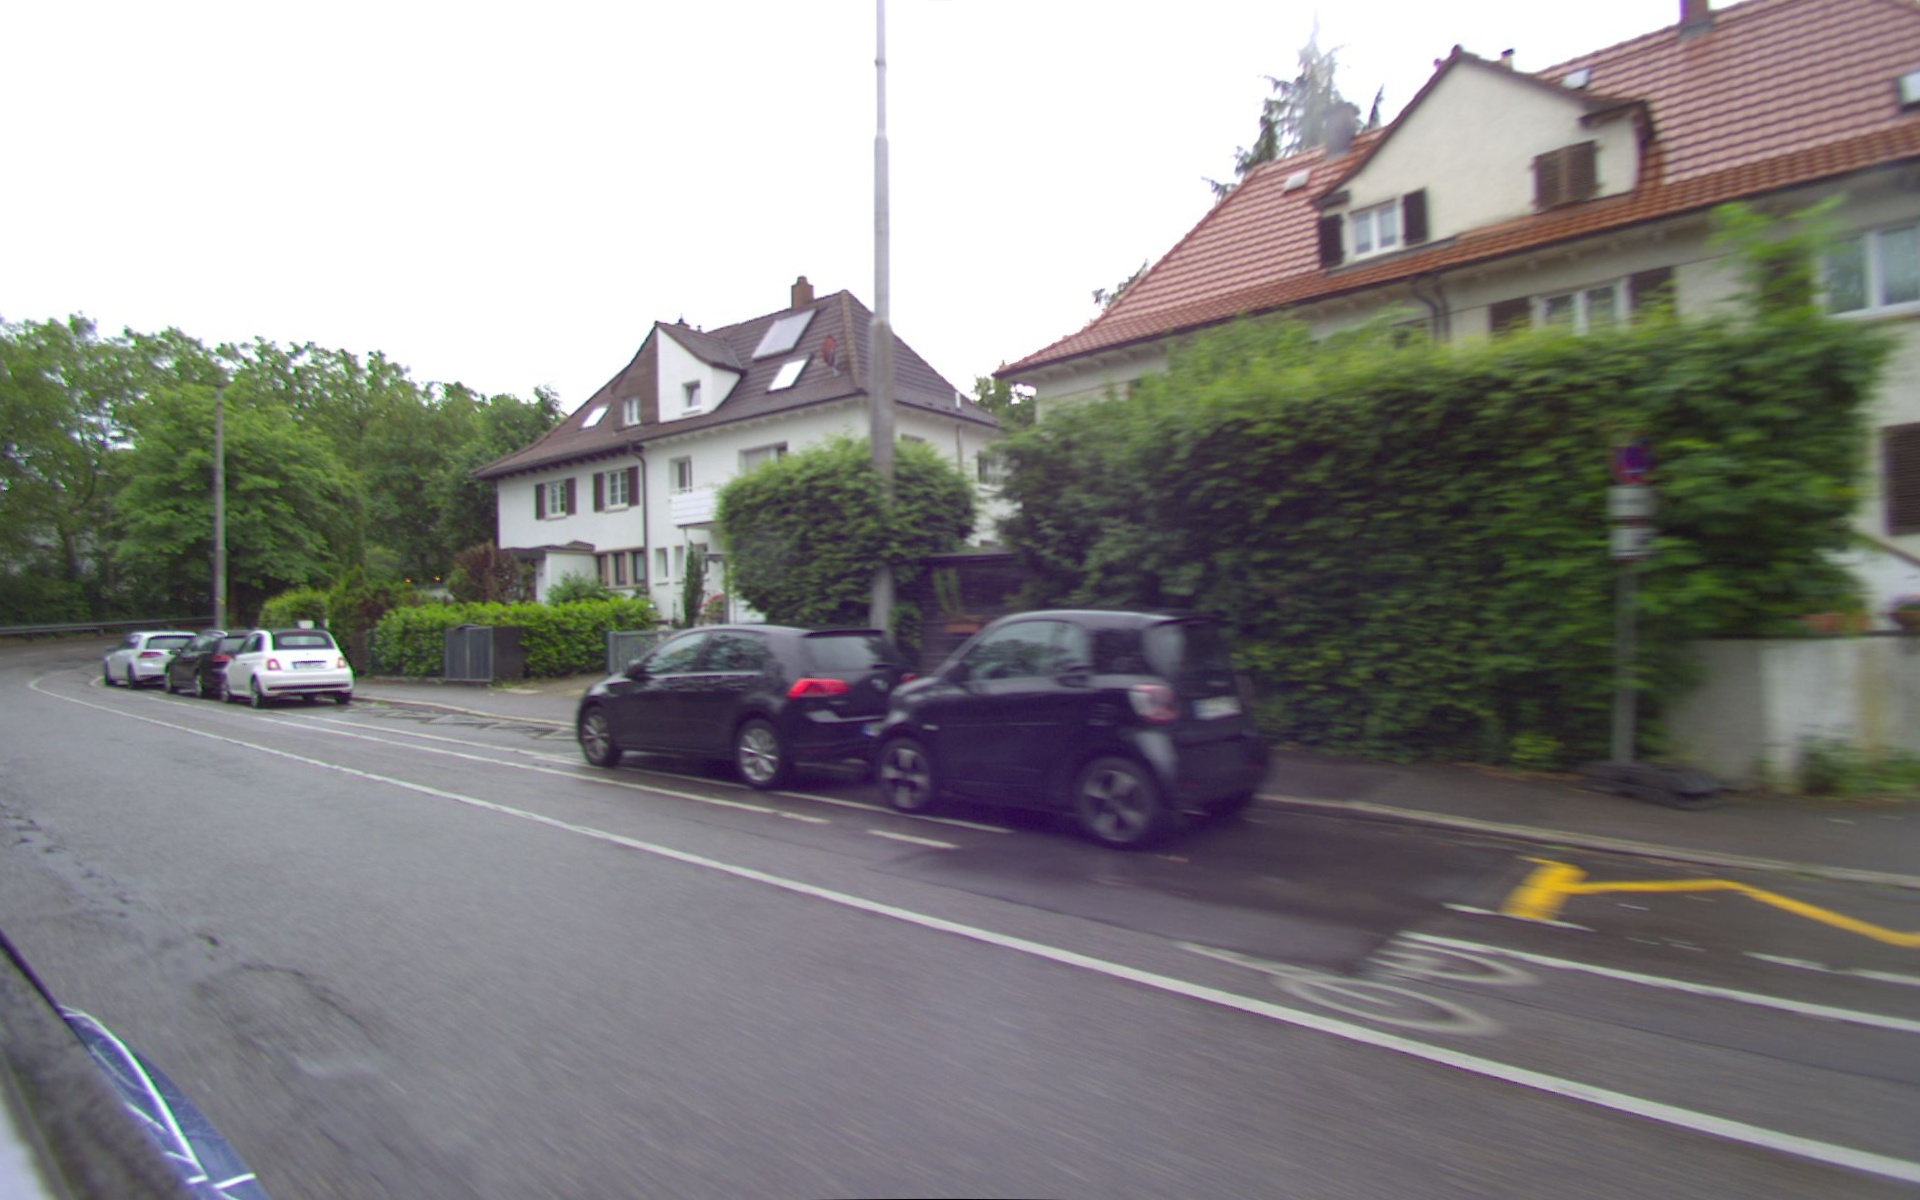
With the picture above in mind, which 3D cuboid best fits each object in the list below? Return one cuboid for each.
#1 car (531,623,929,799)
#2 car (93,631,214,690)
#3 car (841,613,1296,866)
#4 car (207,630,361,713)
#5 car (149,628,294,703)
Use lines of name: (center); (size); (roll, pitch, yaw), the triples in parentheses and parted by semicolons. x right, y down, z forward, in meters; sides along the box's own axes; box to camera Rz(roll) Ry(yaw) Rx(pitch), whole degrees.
car: (-2.453, 0.998, 10.223); (4.210, 1.429, 1.671); (-3, -3, 39)
car: (-21.377, 1.612, 26.772); (4.280, 1.433, 1.715); (-3, -4, 41)
car: (0.693, 0.881, 7.471); (3.028, 1.465, 1.503); (-3, -3, 42)
car: (-13.606, 1.365, 20.305); (3.709, 1.479, 1.680); (-2, -1, 42)
car: (-17.003, 1.446, 23.219); (4.419, 1.536, 1.681); (-2, -1, 40)
